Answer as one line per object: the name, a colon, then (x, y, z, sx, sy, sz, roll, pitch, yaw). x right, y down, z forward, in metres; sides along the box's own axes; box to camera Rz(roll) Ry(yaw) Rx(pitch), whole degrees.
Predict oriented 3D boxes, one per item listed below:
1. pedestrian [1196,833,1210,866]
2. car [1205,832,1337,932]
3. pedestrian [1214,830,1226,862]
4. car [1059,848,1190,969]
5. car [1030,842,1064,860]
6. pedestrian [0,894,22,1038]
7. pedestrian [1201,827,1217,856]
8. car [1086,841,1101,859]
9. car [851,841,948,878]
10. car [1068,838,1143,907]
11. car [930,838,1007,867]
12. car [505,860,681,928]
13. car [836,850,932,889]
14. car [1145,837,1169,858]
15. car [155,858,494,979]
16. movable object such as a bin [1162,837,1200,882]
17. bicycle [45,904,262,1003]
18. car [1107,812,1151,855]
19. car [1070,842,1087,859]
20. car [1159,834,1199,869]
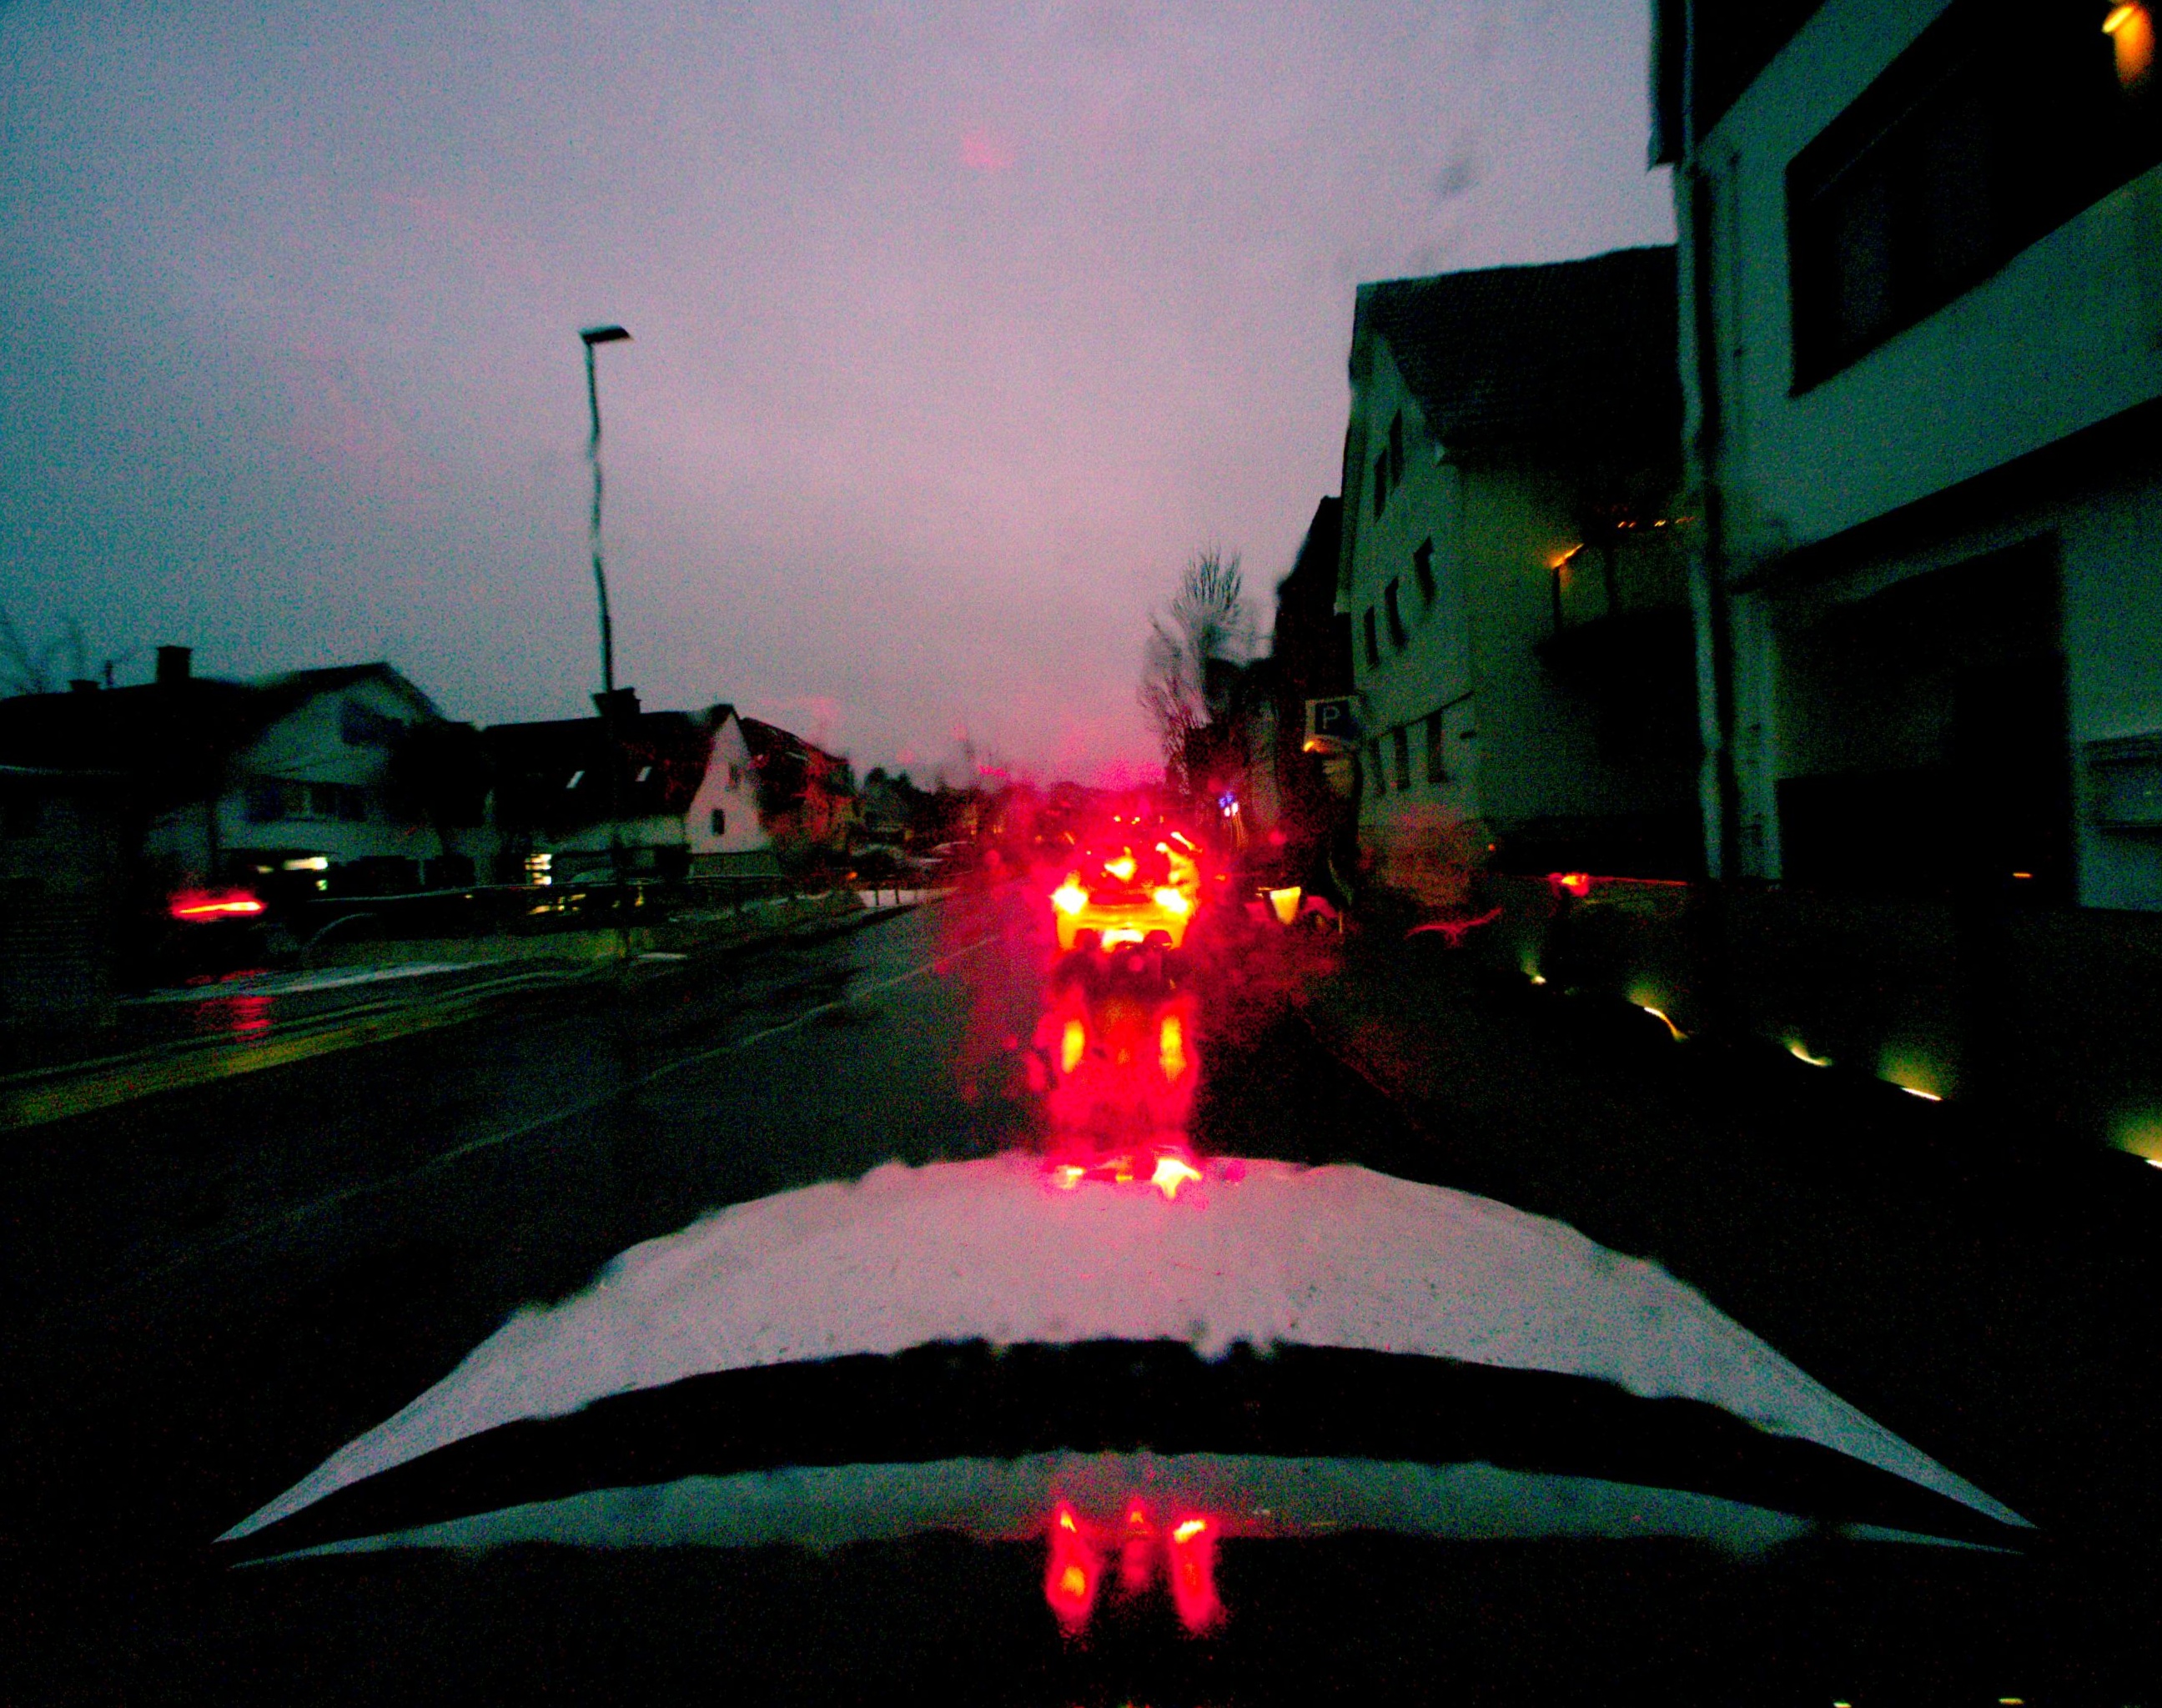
pedestrian: (6.428, -0.251, 42.916, 0.570, 1.699, 0.654, -4, 0, 4)
car: (3.390, 0.399, 15.272, 1.720, 1.464, 4.205, -5, 1, 5)
pedestrian: (7.385, -0.394, 43.137, 0.525, 1.653, 0.957, -2, -2, 13)
car: (0.614, 0.650, 11.400, 1.556, 1.412, 3.020, -1, 1, 3)
car: (-4.484, -0.336, 106.416, 2.011, 2.166, 4.332, 0, -2, -43)
pedestrian: (-9.986, 1.013, 7.027, 0.681, 1.271, 0.752, -1, 1, 7)
pedestrian: (7.707, -0.756, 49.017, 0.707, 1.715, 1.039, -4, 1, 16)
car: (1.680, -0.532, 107.411, 1.913, 2.215, 3.976, -1, -1, 1)
car: (-8.052, 0.238, 36.324, 3.771, 1.523, 1.719, -2, 0, 9)
car: (0.679, 0.409, 21.309, 1.759, 1.628, 3.589, -1, 1, 3)
car: (-7.243, -0.097, 52.580, 4.610, 1.667, 2.000, -2, 0, 0)
car: (-13.520, 1.037, 22.966, 1.793, 1.482, 4.579, -5, 0, 5)
car: (-8.096, 0.620, 33.621, 3.431, 1.372, 1.602, -3, 1, 2)
car: (7.092, -0.612, 76.156, 1.989, 1.865, 4.087, -2, 0, 3)
car: (-14.266, 1.094, 15.833, 1.745, 1.700, 4.577, -6, 1, 9)
movable object such as a bin: (3.441, 0.175, 28.200, 1.123, 1.420, 1.419, -6, 1, 5)
bicycle: (-11.779, 1.225, 10.433, 0.466, 1.010, 1.748, -3, 1, 19)
car: (3.730, -1.532, 64.778, 3.179, 3.031, 6.306, -1, -1, 1)
car: (-0.307, -0.411, 99.587, 1.913, 2.027, 3.976, -1, -1, 1)
car: (5.302, -0.167, 44.548, 1.728, 1.692, 4.389, -3, 1, 2)
